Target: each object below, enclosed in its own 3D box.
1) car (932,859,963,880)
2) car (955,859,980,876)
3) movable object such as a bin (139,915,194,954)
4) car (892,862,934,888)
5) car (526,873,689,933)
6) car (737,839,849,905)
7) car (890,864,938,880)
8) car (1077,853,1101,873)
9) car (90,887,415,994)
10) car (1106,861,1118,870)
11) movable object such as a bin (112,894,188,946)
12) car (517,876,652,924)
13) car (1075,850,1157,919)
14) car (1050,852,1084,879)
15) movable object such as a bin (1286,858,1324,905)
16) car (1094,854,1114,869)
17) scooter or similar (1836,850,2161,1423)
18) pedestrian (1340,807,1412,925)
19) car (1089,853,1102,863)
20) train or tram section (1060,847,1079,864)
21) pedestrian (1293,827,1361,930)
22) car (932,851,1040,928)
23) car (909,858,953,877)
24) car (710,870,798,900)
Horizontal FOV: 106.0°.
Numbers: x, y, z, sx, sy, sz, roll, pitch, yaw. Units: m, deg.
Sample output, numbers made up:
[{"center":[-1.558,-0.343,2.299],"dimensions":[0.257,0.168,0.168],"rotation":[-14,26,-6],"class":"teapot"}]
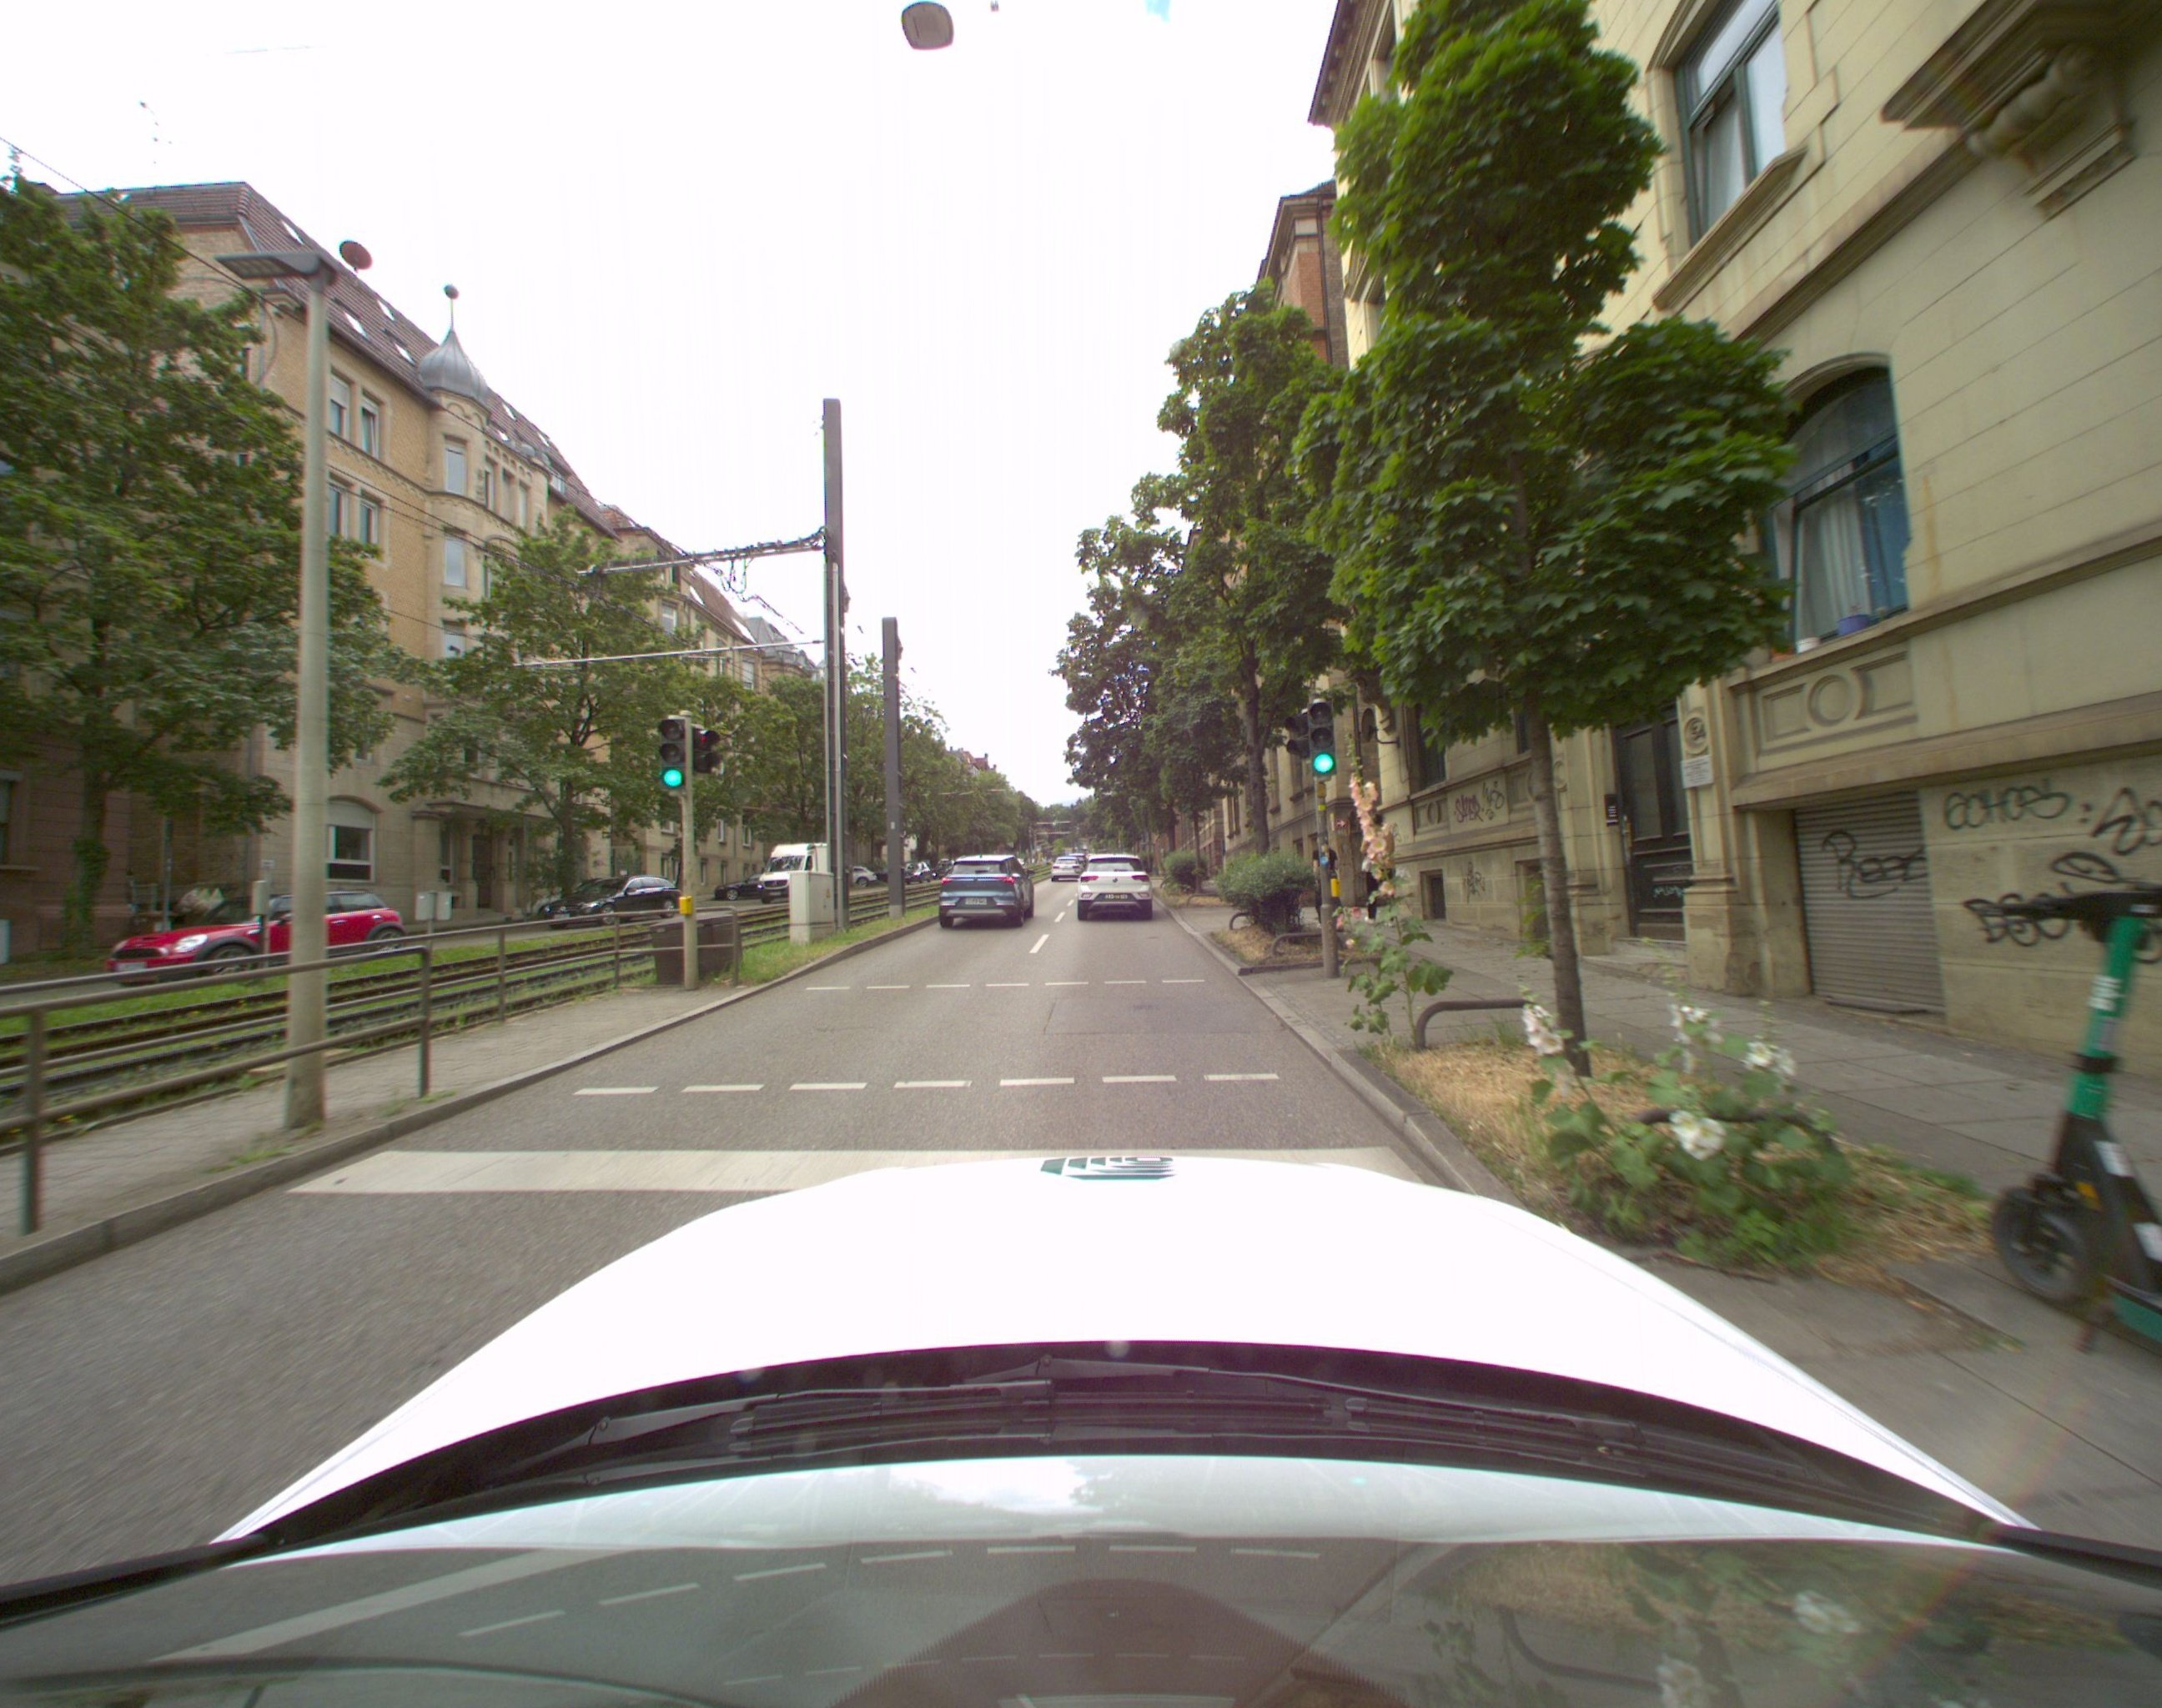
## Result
[{"center":[-11.886,1.354,72.601],"dimensions":[1.773,1.657,4.245],"rotation":[-4,0,2],"class":"car"},{"center":[-11.659,1.363,83.928],"dimensions":[1.773,1.616,4.348],"rotation":[-4,0,2],"class":"car"},{"center":[-21.933,1.930,19.542],"dimensions":[0.580,0.836,0.629],"rotation":[-3,0,2],"class":"movable object such as a bin"},{"center":[-12.194,1.466,59.443],"dimensions":[1.873,1.650,4.472],"rotation":[-4,0,2],"class":"car"},{"center":[-14.558,1.450,25.421],"dimensions":[1.738,1.428,4.760],"rotation":[-4,0,8],"class":"car"},{"center":[-13.455,0.772,38.649],"dimensions":[2.381,2.699,6.525],"rotation":[-4,0,4],"class":"car"},{"center":[-16.337,1.738,79.696],"dimensions":[4.202,1.339,1.854],"rotation":[-3,0,-28],"class":"car"},{"center":[0.725,0.762,68.312],"dimensions":[1.828,1.546,4.195],"rotation":[-1,0,2],"class":"car"},{"center":[-13.943,1.379,14.041],"dimensions":[1.568,1.377,3.662],"rotation":[-3,0,7],"class":"car"},{"center":[5.307,1.992,139.651],"dimensions":[2.060,1.546,4.195],"rotation":[-1,0,2],"class":"car"},{"center":[-24.375,1.726,21.343],"dimensions":[0.888,1.248,0.918],"rotation":[-3,0,5],"class":"movable object such as a bin"},{"center":[-17.822,1.616,29.403],"dimensions":[4.012,1.422,1.769],"rotation":[-2,-1,-30],"class":"car"},{"center":[0.821,0.705,20.543],"dimensions":[1.829,1.546,4.194],"rotation":[-1,0,1],"class":"car"},{"center":[-0.825,0.694,49.641],"dimensions":[1.828,1.546,4.195],"rotation":[-1,0,2],"class":"car"},{"center":[5.301,0.643,19.284],"dimensions":[0.669,1.016,0.582],"rotation":[-4,2,-1],"class":"movable object such as a bin"},{"center":[2.478,0.784,89.558],"dimensions":[2.061,1.546,4.193],"rotation":[-1,0,0],"class":"car"},{"center":[2.820,0.661,1.951],"dimensions":[0.659,1.304,1.384],"rotation":[-5,-1,2],"class":"scooter or similar"},{"center":[4.883,0.197,13.559],"dimensions":[0.683,1.829,1.122],"rotation":[-4,-1,2],"class":"pedestrian"},{"center":[2.288,0.695,130.109],"dimensions":[2.061,1.546,4.193],"rotation":[-1,0,1],"class":"car"},{"center":[-2.437,0.356,177.587],"dimensions":[2.983,3.349,13.448],"rotation":[-2,-1,3],"class":"train or tram section"},{"center":[4.055,0.388,13.510],"dimensions":[0.683,1.574,1.217],"rotation":[-4,0,2],"class":"pedestrian"},{"center":[-2.067,0.752,18.856],"dimensions":[1.828,1.546,4.195],"rotation":[-1,0,2],"class":"car"},{"center":[-15.767,1.421,85.688],"dimensions":[4.199,1.836,1.856],"rotation":[-3,0,-25],"class":"car"},{"center":[-17.424,1.610,43.424],"dimensions":[4.195,1.364,1.697],"rotation":[-2,0,-28],"class":"car"}]
